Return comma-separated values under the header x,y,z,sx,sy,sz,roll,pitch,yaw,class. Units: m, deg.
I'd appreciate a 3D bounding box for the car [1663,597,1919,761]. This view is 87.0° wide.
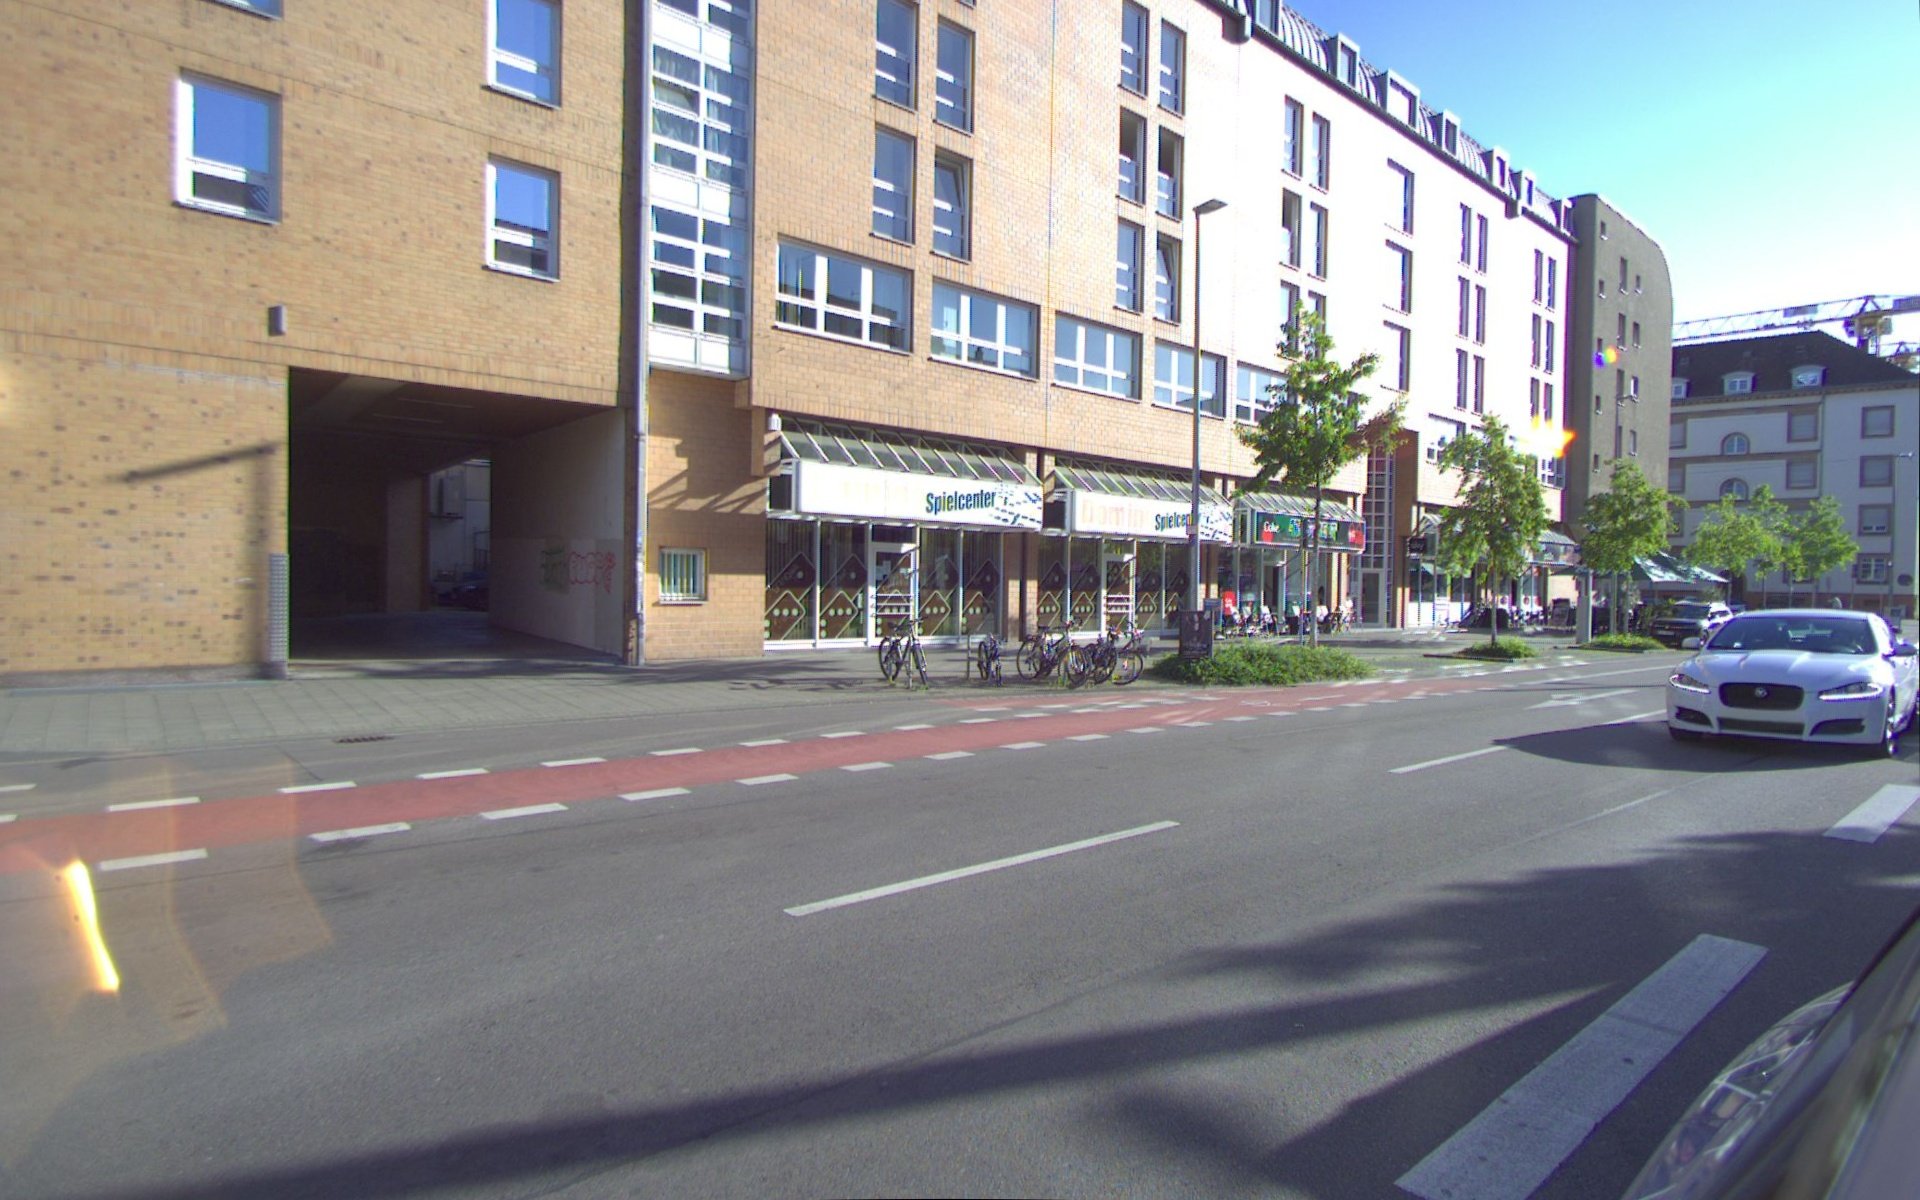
x,y,z,sx,sy,sz,roll,pitch,yaw,class
9.560,0.713,11.350,4.376,1.448,1.806,0,1,-42,car

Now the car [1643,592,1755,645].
x,y,z,sx,sy,sz,roll,pitch,yaw,class
25.685,0.613,35.159,3.921,1.659,1.782,0,3,-33,car

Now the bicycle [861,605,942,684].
x,y,z,sx,sy,sz,roll,pitch,yaw,class
-0.963,0.678,16.199,0.423,1.089,1.776,-1,4,-35,bicycle

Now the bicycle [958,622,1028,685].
x,y,z,sx,sy,sz,roll,pitch,yaw,class
0.516,0.859,16.773,0.359,0.842,1.779,0,3,-26,bicycle

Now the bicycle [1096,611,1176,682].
x,y,z,sx,sy,sz,roll,pitch,yaw,class
3.079,0.788,17.869,0.343,1.069,1.843,0,3,-26,bicycle

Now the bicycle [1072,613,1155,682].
x,y,z,sx,sy,sz,roll,pitch,yaw,class
2.656,0.802,17.666,0.440,0.997,1.843,0,3,-26,bicycle

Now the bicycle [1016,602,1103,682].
x,y,z,sx,sy,sz,roll,pitch,yaw,class
1.660,0.678,17.202,0.553,1.177,1.843,0,3,-26,bicycle
